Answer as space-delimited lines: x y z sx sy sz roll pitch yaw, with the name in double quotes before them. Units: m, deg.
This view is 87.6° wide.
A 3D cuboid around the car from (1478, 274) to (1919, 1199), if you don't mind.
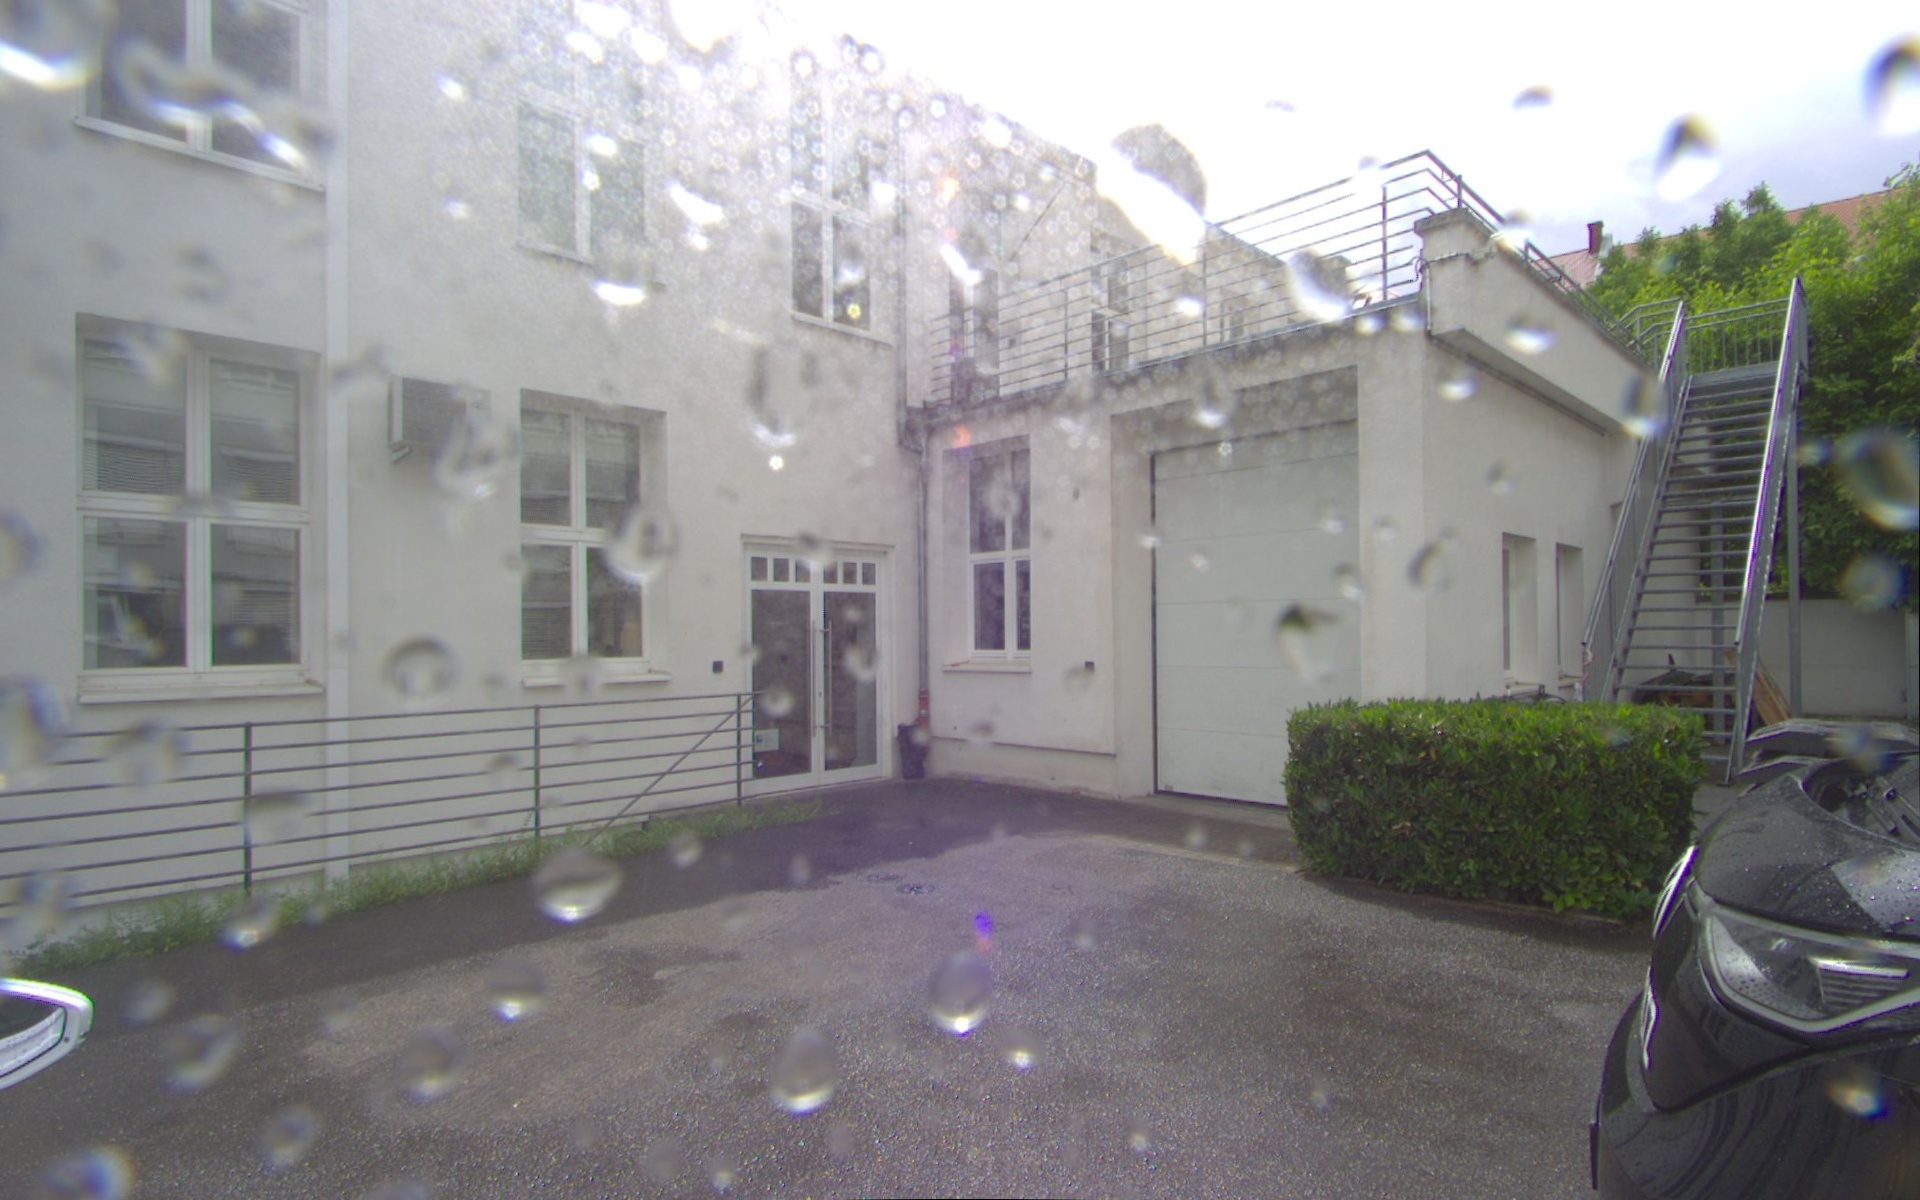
"car" 3.133 0.537 0.620 4.691 1.888 1.957 -3 -3 38
